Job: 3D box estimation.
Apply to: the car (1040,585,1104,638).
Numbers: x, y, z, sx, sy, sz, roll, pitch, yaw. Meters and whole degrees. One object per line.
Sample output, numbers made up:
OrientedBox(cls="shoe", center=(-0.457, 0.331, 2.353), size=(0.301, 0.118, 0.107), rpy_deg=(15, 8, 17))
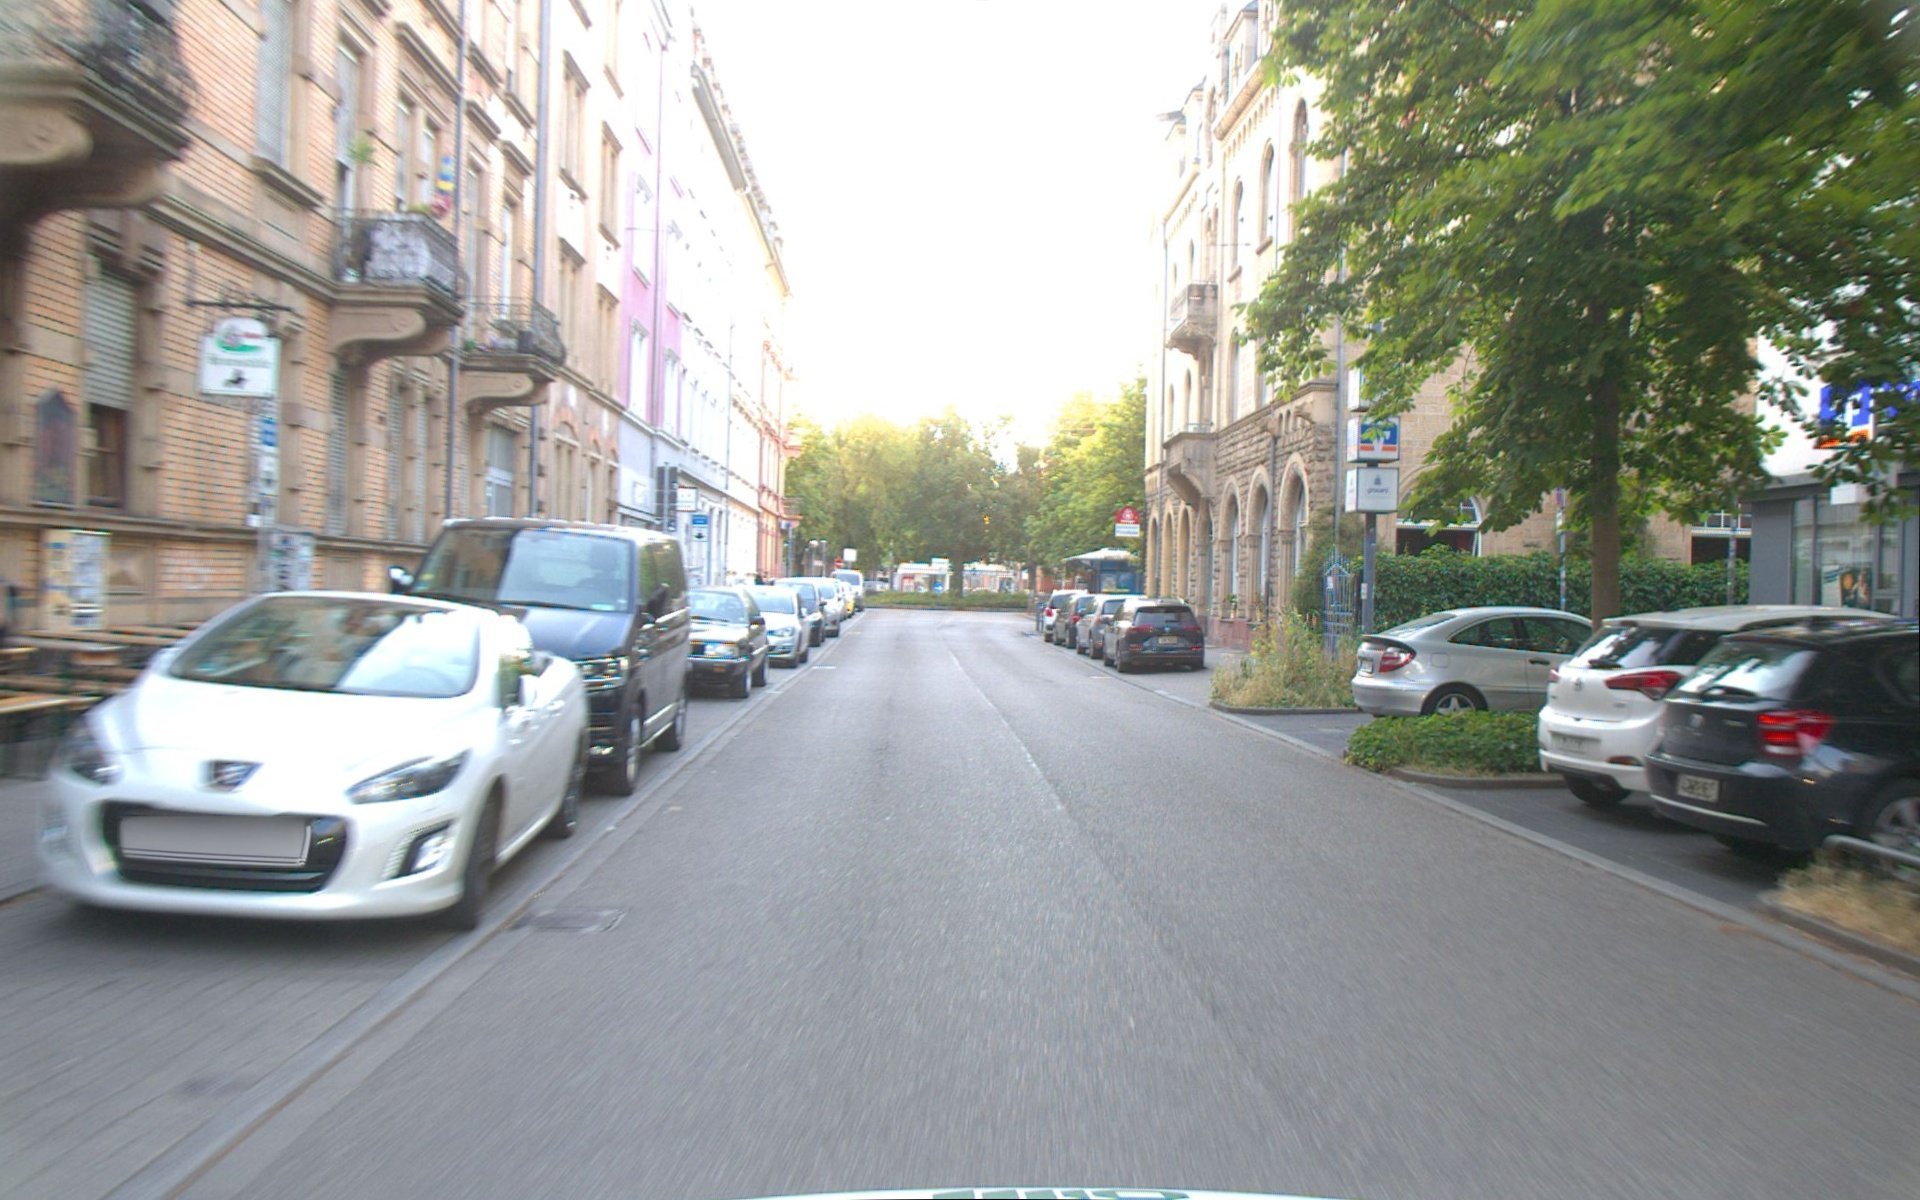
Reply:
OrientedBox(cls="car", center=(3.397, 0.316, 50.738), size=(1.642, 1.527, 3.901), rpy_deg=(-2, 1, 0))

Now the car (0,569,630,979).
OrientedBox(cls="car", center=(-2.925, 0.638, 8.460), size=(1.748, 1.447, 4.482), rpy_deg=(4, 0, -3))

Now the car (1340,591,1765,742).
OrientedBox(cls="car", center=(6.407, 0.691, 18.226), size=(4.002, 1.478, 1.882), rpy_deg=(-1, 1, 0))

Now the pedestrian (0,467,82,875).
OrientedBox(cls="pedestrian", center=(-4.509, 0.295, 7.483), size=(0.593, 1.803, 0.776), rpy_deg=(4, 1, -6))

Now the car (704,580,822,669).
OrientedBox(cls="car", center=(-3.749, 0.433, 32.082), size=(1.797, 1.483, 4.205), rpy_deg=(4, 0, -2))

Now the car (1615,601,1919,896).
OrientedBox(cls="car", center=(6.094, 0.760, 9.558), size=(3.908, 1.481, 1.827), rpy_deg=(0, 1, -4))

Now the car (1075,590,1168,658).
OrientedBox(cls="car", center=(3.855, 0.542, 40.098), size=(1.642, 1.481, 4.228), rpy_deg=(-2, 1, -3))

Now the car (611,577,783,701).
OrientedBox(cls="car", center=(-3.497, 0.484, 22.784), size=(1.702, 1.443, 4.776), rpy_deg=(3, 0, -2))

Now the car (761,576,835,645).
OrientedBox(cls="car", center=(-4.039, 0.235, 41.661), size=(1.603, 1.592, 3.779), rpy_deg=(2, 0, -3))

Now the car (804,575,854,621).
OrientedBox(cls="car", center=(-5.028, -0.092, 63.868), size=(1.664, 1.649, 4.020), rpy_deg=(3, 0, -2))

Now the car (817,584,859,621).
OrientedBox(cls="car", center=(-5.178, 0.084, 70.121), size=(1.665, 1.451, 4.019), rpy_deg=(3, 0, -4))

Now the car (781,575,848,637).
OrientedBox(cls="car", center=(-4.176, 0.152, 47.701), size=(1.808, 1.688, 4.249), rpy_deg=(1, 0, -5))

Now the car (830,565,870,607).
OrientedBox(cls="car", center=(-5.622, -0.723, 84.187), size=(1.776, 2.011, 4.181), rpy_deg=(3, 0, -6))

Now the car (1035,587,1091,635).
OrientedBox(cls="car", center=(3.502, 0.355, 56.734), size=(1.642, 1.527, 4.018), rpy_deg=(-2, 1, 0))

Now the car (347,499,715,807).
OrientedBox(cls="car", center=(-3.240, 0.333, 13.584), size=(1.954, 1.957, 4.947), rpy_deg=(3, 0, -4))

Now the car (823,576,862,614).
OrientedBox(cls="car", center=(-5.396, -0.244, 76.046), size=(1.665, 1.579, 4.019), rpy_deg=(3, 0, -4))

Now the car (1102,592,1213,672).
OrientedBox(cls="car", center=(4.008, 0.601, 34.240), size=(1.642, 1.454, 4.477), rpy_deg=(-2, 1, -1))

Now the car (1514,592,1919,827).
OrientedBox(cls="car", center=(6.216, 0.720, 12.101), size=(3.721, 1.478, 1.733), rpy_deg=(-1, 1, -7))

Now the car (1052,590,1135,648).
OrientedBox(cls="car", center=(3.660, 0.499, 45.841), size=(1.644, 1.481, 3.796), rpy_deg=(-2, 1, -5))

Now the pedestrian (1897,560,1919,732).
OrientedBox(cls="pedestrian", center=(10.079, 0.465, 16.650), size=(0.712, 1.746, 0.963), rpy_deg=(-1, 0, -2))
